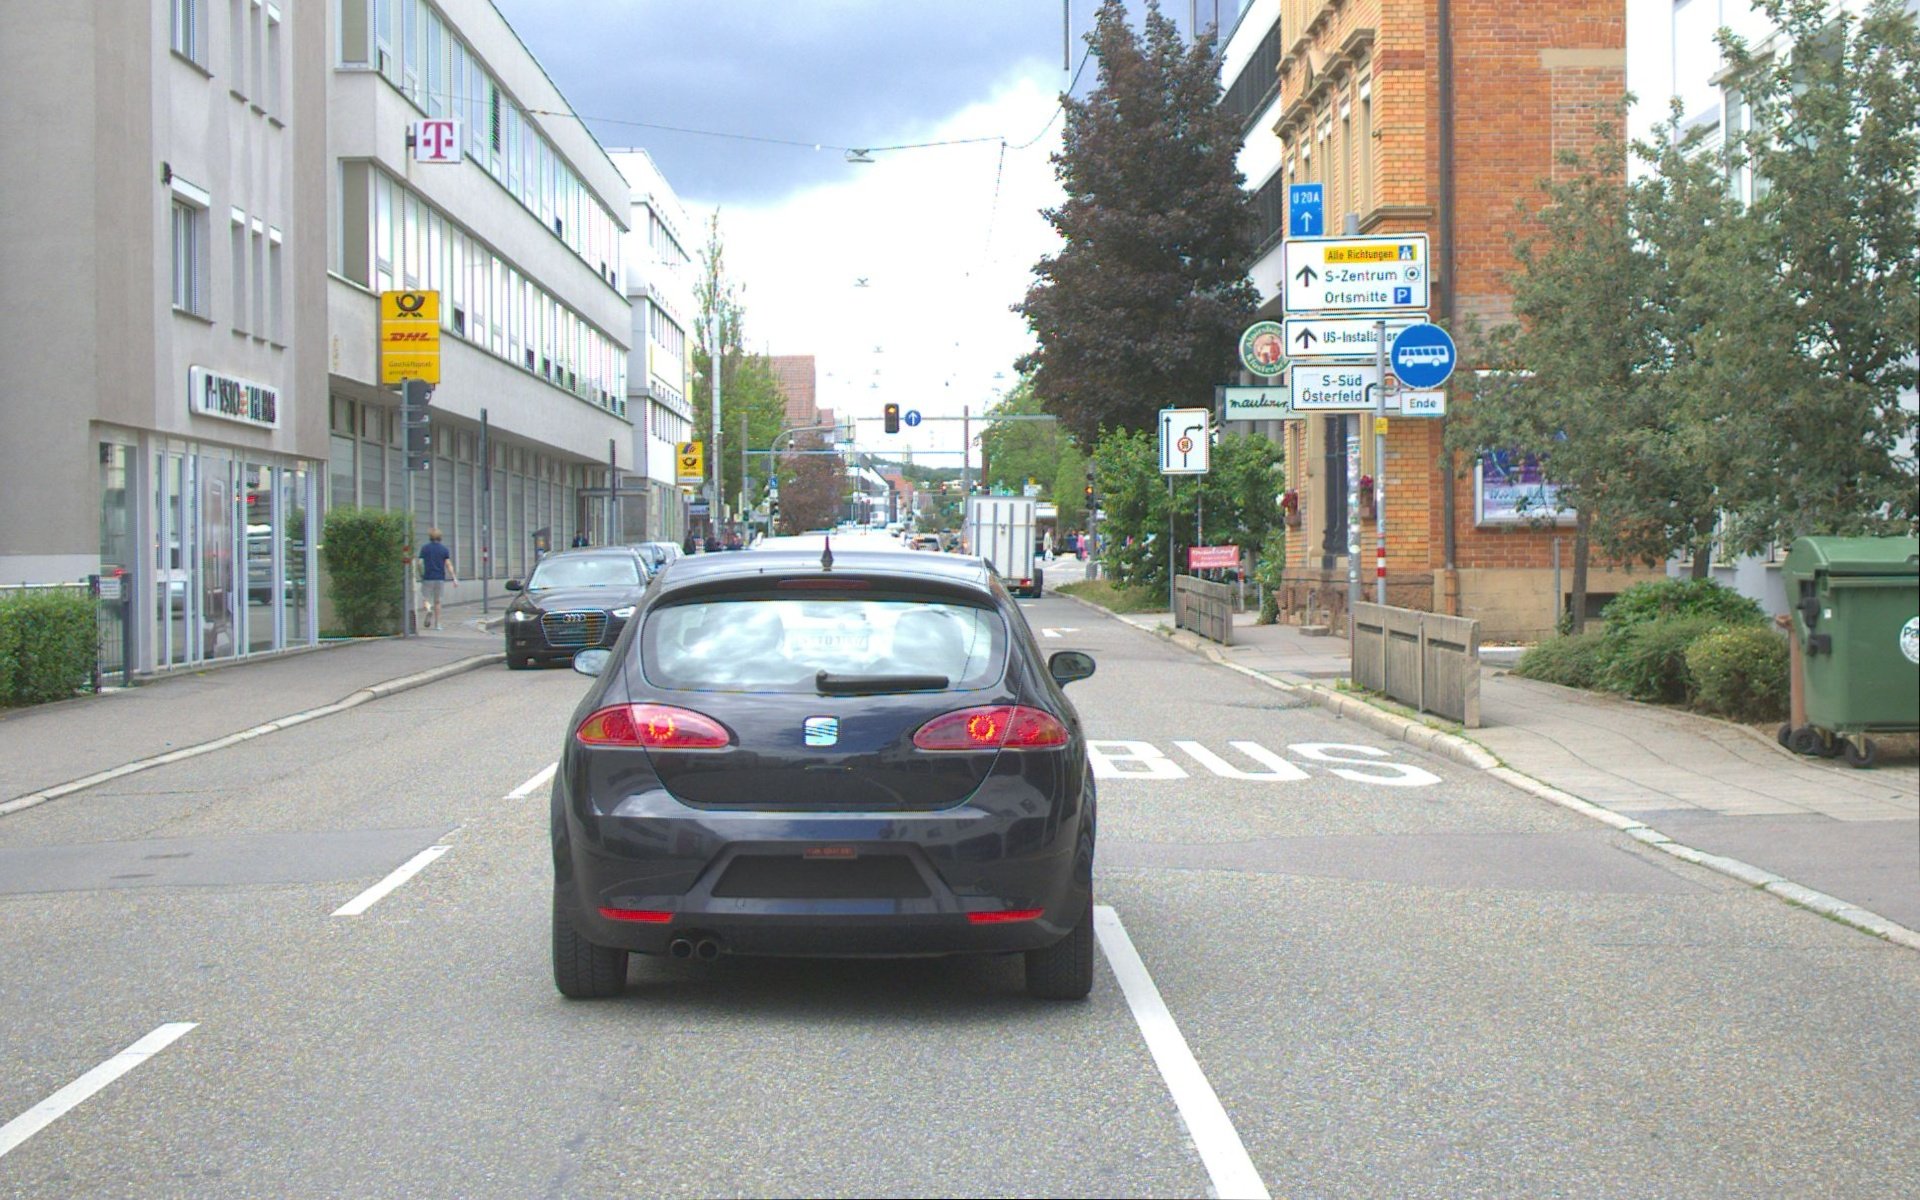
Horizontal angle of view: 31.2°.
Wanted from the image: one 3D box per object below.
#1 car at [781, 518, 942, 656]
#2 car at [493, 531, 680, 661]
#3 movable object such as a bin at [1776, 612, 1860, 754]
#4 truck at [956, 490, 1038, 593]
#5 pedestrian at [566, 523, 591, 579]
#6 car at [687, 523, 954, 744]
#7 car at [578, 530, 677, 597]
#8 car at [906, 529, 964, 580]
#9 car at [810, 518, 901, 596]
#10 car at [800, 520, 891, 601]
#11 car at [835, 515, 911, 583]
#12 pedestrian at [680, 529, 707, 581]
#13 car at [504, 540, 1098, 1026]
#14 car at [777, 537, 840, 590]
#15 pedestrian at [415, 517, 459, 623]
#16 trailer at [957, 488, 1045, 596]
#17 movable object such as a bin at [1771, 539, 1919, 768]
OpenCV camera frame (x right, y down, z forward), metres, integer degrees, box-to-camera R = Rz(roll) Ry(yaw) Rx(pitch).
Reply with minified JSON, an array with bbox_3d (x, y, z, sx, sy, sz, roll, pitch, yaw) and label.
[{"bbox_3d":[-1.149,-0.179,40.559,1.803,1.547,3.738,0,1,-1],"label":"car"},{"bbox_3d":[-4.599,-0.087,42.857,1.878,1.446,4.214,-3,1,-1],"label":"car"},{"bbox_3d":[5.650,0.542,22.655,0.430,0.917,0.465,0,1,0],"label":"movable object such as a bin"},{"bbox_3d":[0.930,-1.523,88.745,1.993,2.598,3.260,0,1,-1],"label":"truck"},{"bbox_3d":[-11.178,-1.440,100.685,0.656,1.617,0.681,0,1,0],"label":"pedestrian"},{"bbox_3d":[-0.987,0.191,25.177,1.803,1.487,3.738,0,1,-1],"label":"car"},{"bbox_3d":[-7.712,-0.869,80.103,1.993,1.511,4.175,0,1,-1],"label":"car"},{"bbox_3d":[-0.817,-1.481,110.933,1.803,1.596,3.738,1,1,-1],"label":"car"},{"bbox_3d":[-2.129,-0.897,70.627,1.803,1.547,3.738,0,1,-1],"label":"car"},{"bbox_3d":[-2.339,-0.837,70.767,1.803,1.596,3.738,1,1,-1],"label":"car"},{"bbox_3d":[-2.138,-1.255,84.485,1.803,1.596,3.738,1,1,-1],"label":"car"},{"bbox_3d":[-9.574,-1.617,123.395,0.918,1.862,0.783,0,1,-1],"label":"pedestrian"},{"bbox_3d":[-0.496,0.511,12.145,1.765,1.428,3.829,0,1,-1],"label":"car"},{"bbox_3d":[-5.199,-1.280,118.575,1.993,1.733,4.554,-2,1,-1],"label":"car"},{"bbox_3d":[-8.795,-0.516,57.837,0.642,1.763,0.810,0,1,-3],"label":"pedestrian"},{"bbox_3d":[0.996,-1.460,85.974,1.993,2.598,5.350,0,1,-1],"label":"trailer"},{"bbox_3d":[5.926,0.321,21.838,1.267,1.412,1.162,0,1,0],"label":"movable object such as a bin"}]
